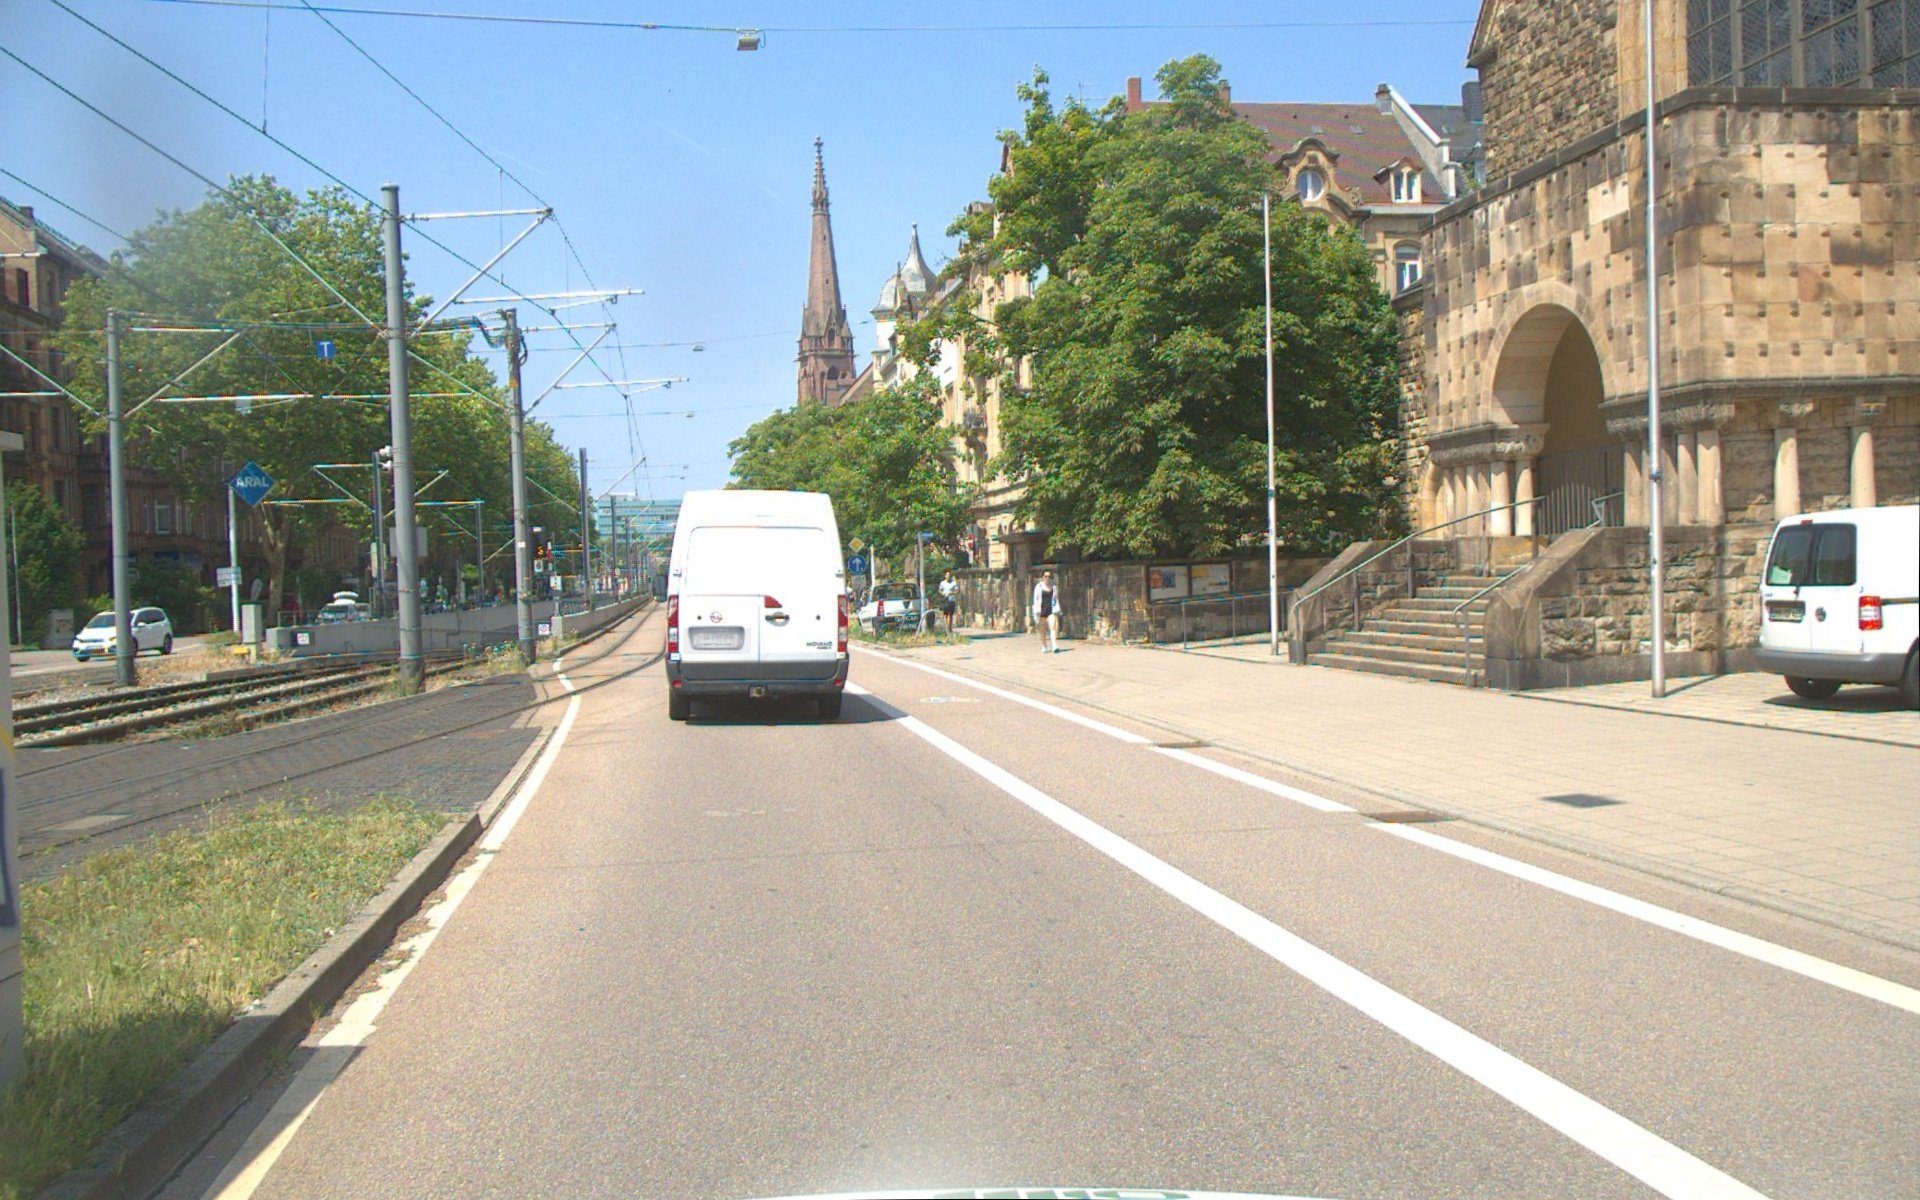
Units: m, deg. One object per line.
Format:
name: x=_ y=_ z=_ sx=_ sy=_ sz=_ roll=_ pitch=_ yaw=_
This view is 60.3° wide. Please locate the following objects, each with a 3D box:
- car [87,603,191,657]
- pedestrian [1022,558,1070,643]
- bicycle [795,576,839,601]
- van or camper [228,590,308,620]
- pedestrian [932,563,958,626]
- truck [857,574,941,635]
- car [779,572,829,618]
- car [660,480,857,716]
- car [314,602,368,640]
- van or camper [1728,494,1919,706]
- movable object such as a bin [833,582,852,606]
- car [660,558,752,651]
car: x=-28.164 y=0.993 z=56.888 sx=1.813 sy=1.653 sz=4.592 roll=-3 pitch=1 yaw=-9
pedestrian: x=1.743 y=0.001 z=33.580 sx=0.779 sy=1.679 sz=0.965 roll=-1 pitch=0 yaw=-8
bicycle: x=-6.272 y=-0.507 z=72.645 sx=1.853 sy=1.009 sz=0.468 roll=-2 pitch=0 yaw=-20
van or camper: x=-46.456 y=0.339 z=111.093 sx=4.454 sy=1.868 sz=1.930 roll=-2 pitch=0 yaw=-5
pedestrian: x=-0.432 y=-0.165 z=47.590 sx=0.609 sy=1.785 sz=0.677 roll=-1 pitch=0 yaw=-8
truck: x=-1.762 y=0.076 z=46.216 sx=1.757 sy=1.552 sz=4.455 roll=-2 pitch=1 yaw=-9
car: x=-7.251 y=-0.253 z=76.606 sx=1.845 sy=1.981 sz=4.825 roll=-3 pitch=1 yaw=-10
car: x=-2.595 y=-0.048 z=20.245 sx=2.079 sy=2.502 sz=5.042 roll=-1 pitch=0 yaw=-10
car: x=-34.026 y=1.114 z=91.073 sx=1.958 sy=1.937 sz=4.705 roll=-2 pitch=1 yaw=-11
van or camper: x=9.808 y=-0.125 z=16.059 sx=3.917 sy=1.857 sz=1.798 roll=-4 pitch=1 yaw=-12
movable object such as a bin: x=-4.961 y=-0.257 z=70.065 sx=0.772 sy=1.031 sz=0.650 roll=-1 pitch=0 yaw=-4
car: x=-5.970 y=0.082 z=38.505 sx=1.883 sy=1.978 sz=4.252 roll=-2 pitch=1 yaw=-11
